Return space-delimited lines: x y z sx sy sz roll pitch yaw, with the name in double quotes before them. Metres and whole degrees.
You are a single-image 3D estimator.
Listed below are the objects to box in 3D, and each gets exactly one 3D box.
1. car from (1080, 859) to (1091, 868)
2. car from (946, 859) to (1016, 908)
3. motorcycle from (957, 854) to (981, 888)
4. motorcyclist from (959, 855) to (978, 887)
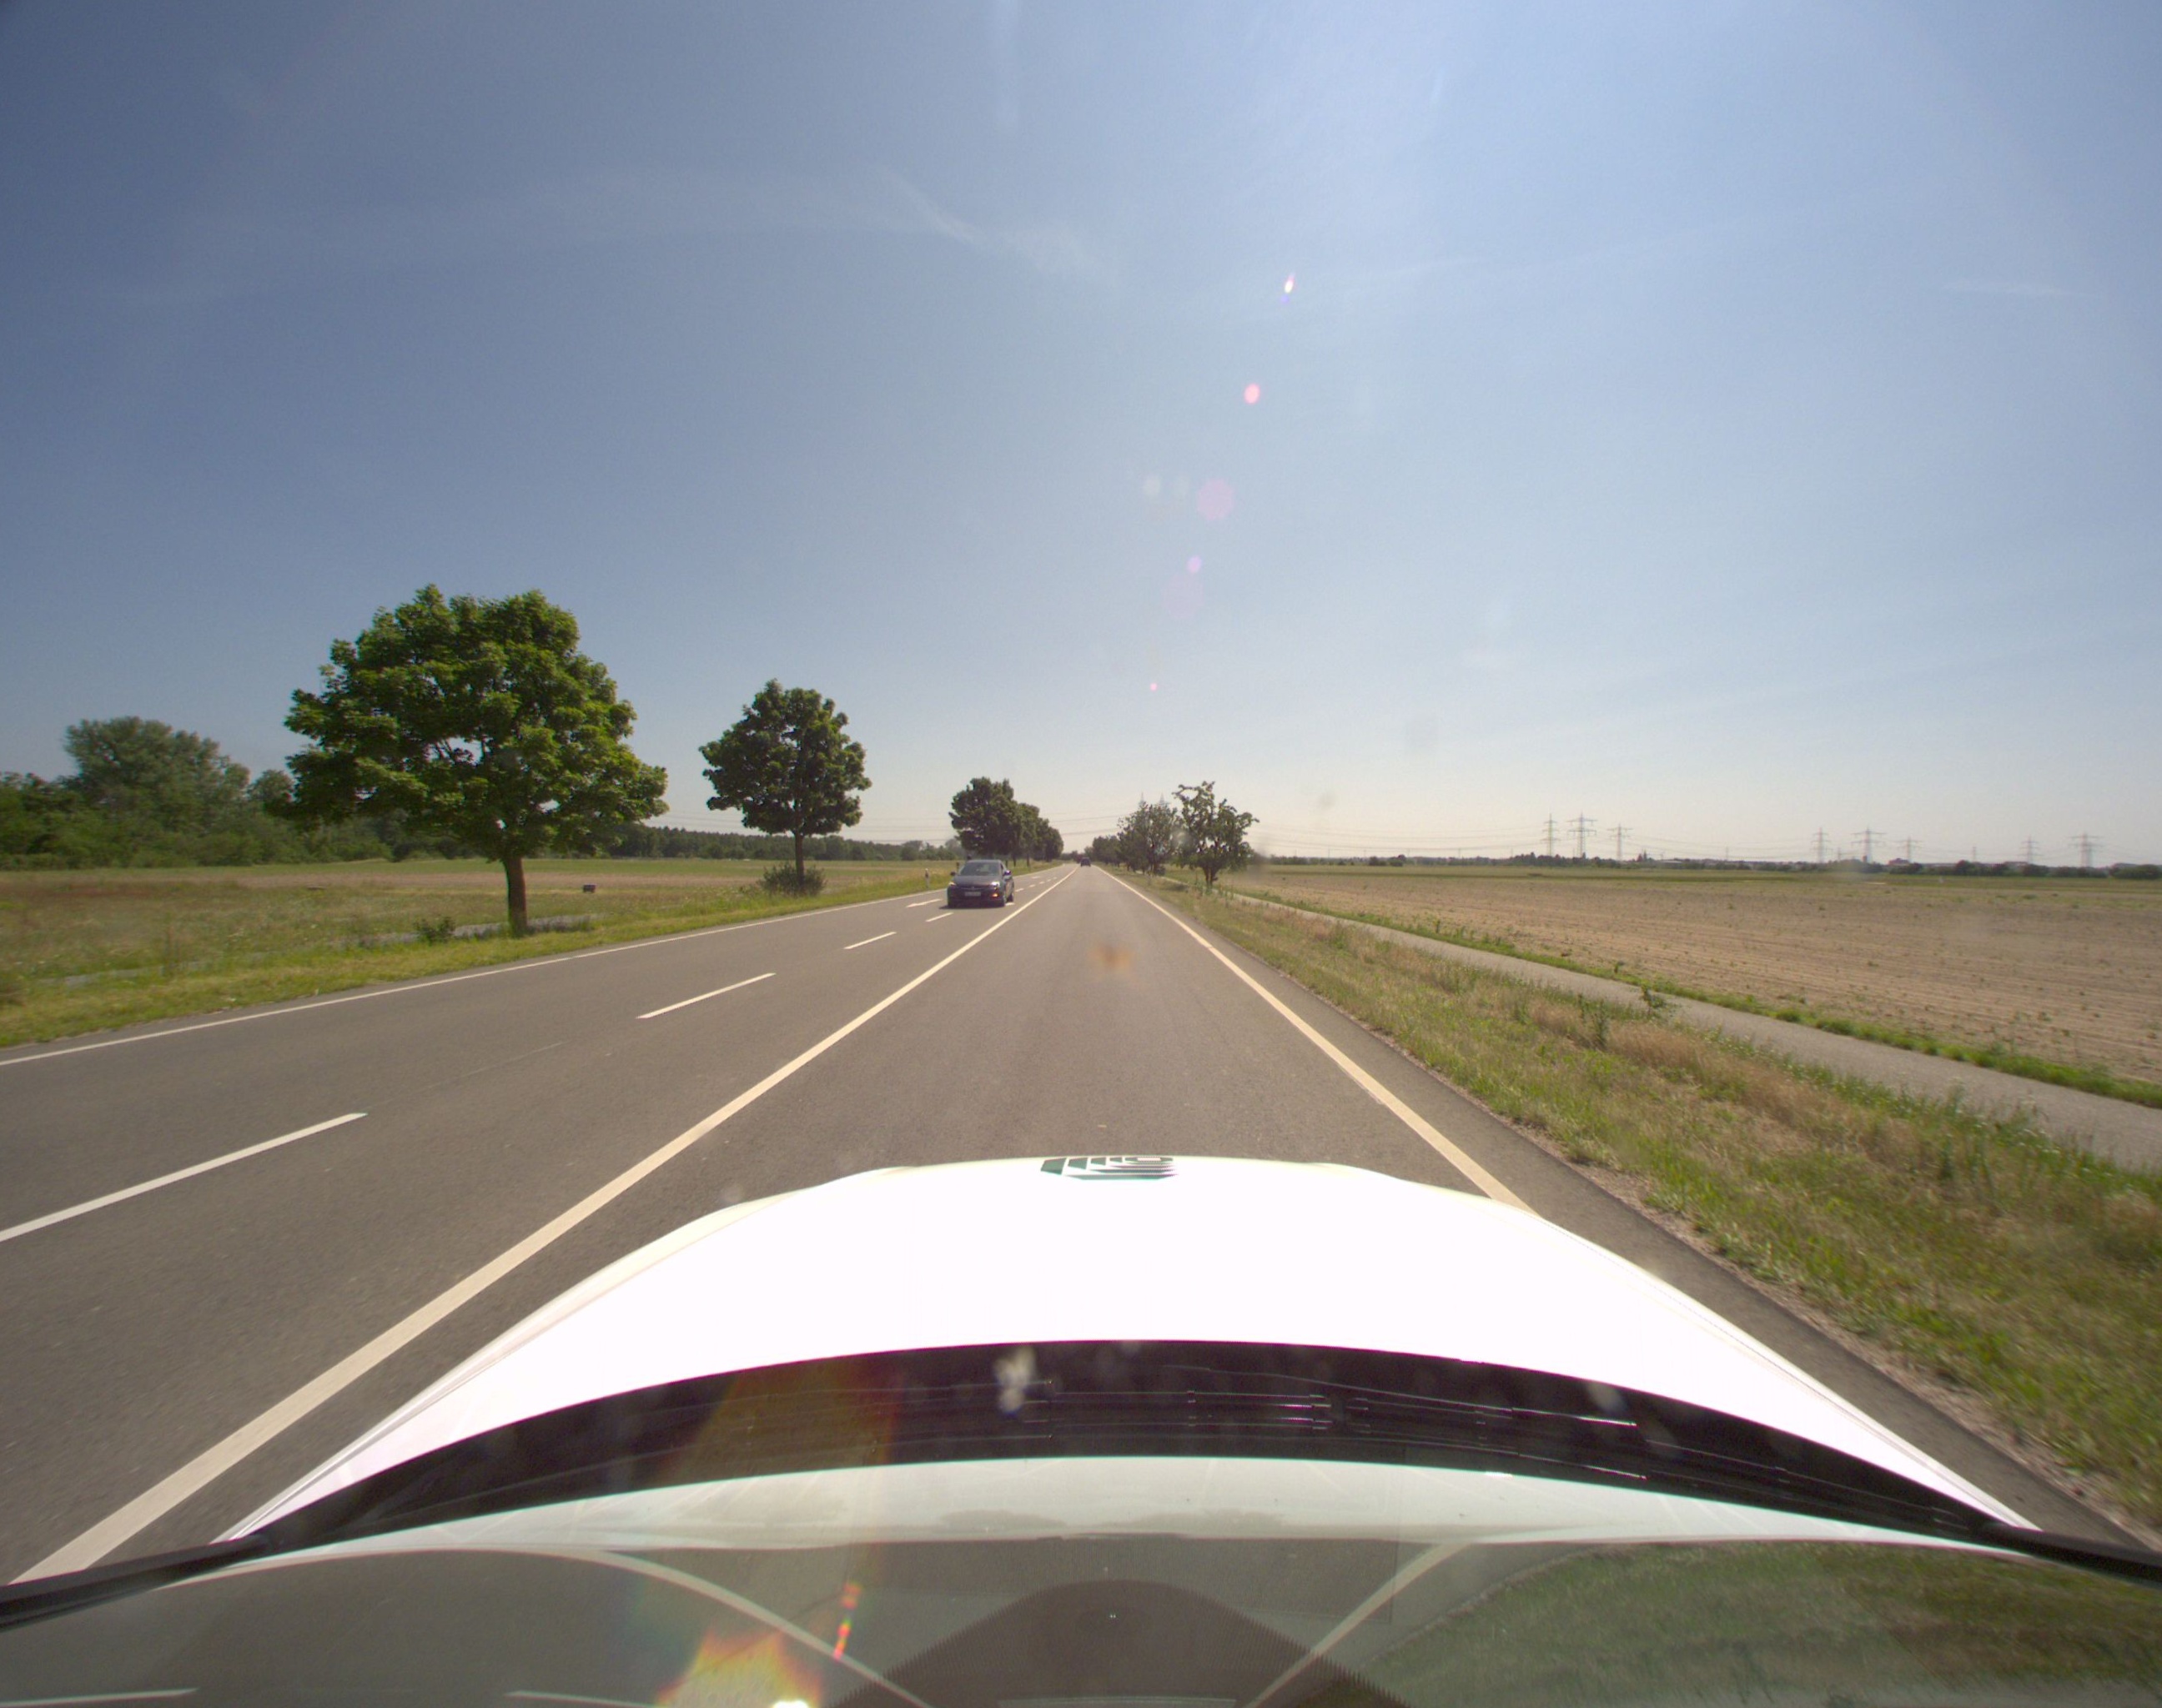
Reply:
"car" 0.836 1.831 154.428 1.879 1.518 4.039 3 0 0
"car" -3.192 0.898 26.763 1.734 1.473 4.617 -1 0 0
"motorcycle" -6.042 0.906 43.976 0.885 1.743 2.446 -1 0 1
"motorcyclist" -6.035 0.904 43.788 0.850 1.721 1.089 -1 -1 2
